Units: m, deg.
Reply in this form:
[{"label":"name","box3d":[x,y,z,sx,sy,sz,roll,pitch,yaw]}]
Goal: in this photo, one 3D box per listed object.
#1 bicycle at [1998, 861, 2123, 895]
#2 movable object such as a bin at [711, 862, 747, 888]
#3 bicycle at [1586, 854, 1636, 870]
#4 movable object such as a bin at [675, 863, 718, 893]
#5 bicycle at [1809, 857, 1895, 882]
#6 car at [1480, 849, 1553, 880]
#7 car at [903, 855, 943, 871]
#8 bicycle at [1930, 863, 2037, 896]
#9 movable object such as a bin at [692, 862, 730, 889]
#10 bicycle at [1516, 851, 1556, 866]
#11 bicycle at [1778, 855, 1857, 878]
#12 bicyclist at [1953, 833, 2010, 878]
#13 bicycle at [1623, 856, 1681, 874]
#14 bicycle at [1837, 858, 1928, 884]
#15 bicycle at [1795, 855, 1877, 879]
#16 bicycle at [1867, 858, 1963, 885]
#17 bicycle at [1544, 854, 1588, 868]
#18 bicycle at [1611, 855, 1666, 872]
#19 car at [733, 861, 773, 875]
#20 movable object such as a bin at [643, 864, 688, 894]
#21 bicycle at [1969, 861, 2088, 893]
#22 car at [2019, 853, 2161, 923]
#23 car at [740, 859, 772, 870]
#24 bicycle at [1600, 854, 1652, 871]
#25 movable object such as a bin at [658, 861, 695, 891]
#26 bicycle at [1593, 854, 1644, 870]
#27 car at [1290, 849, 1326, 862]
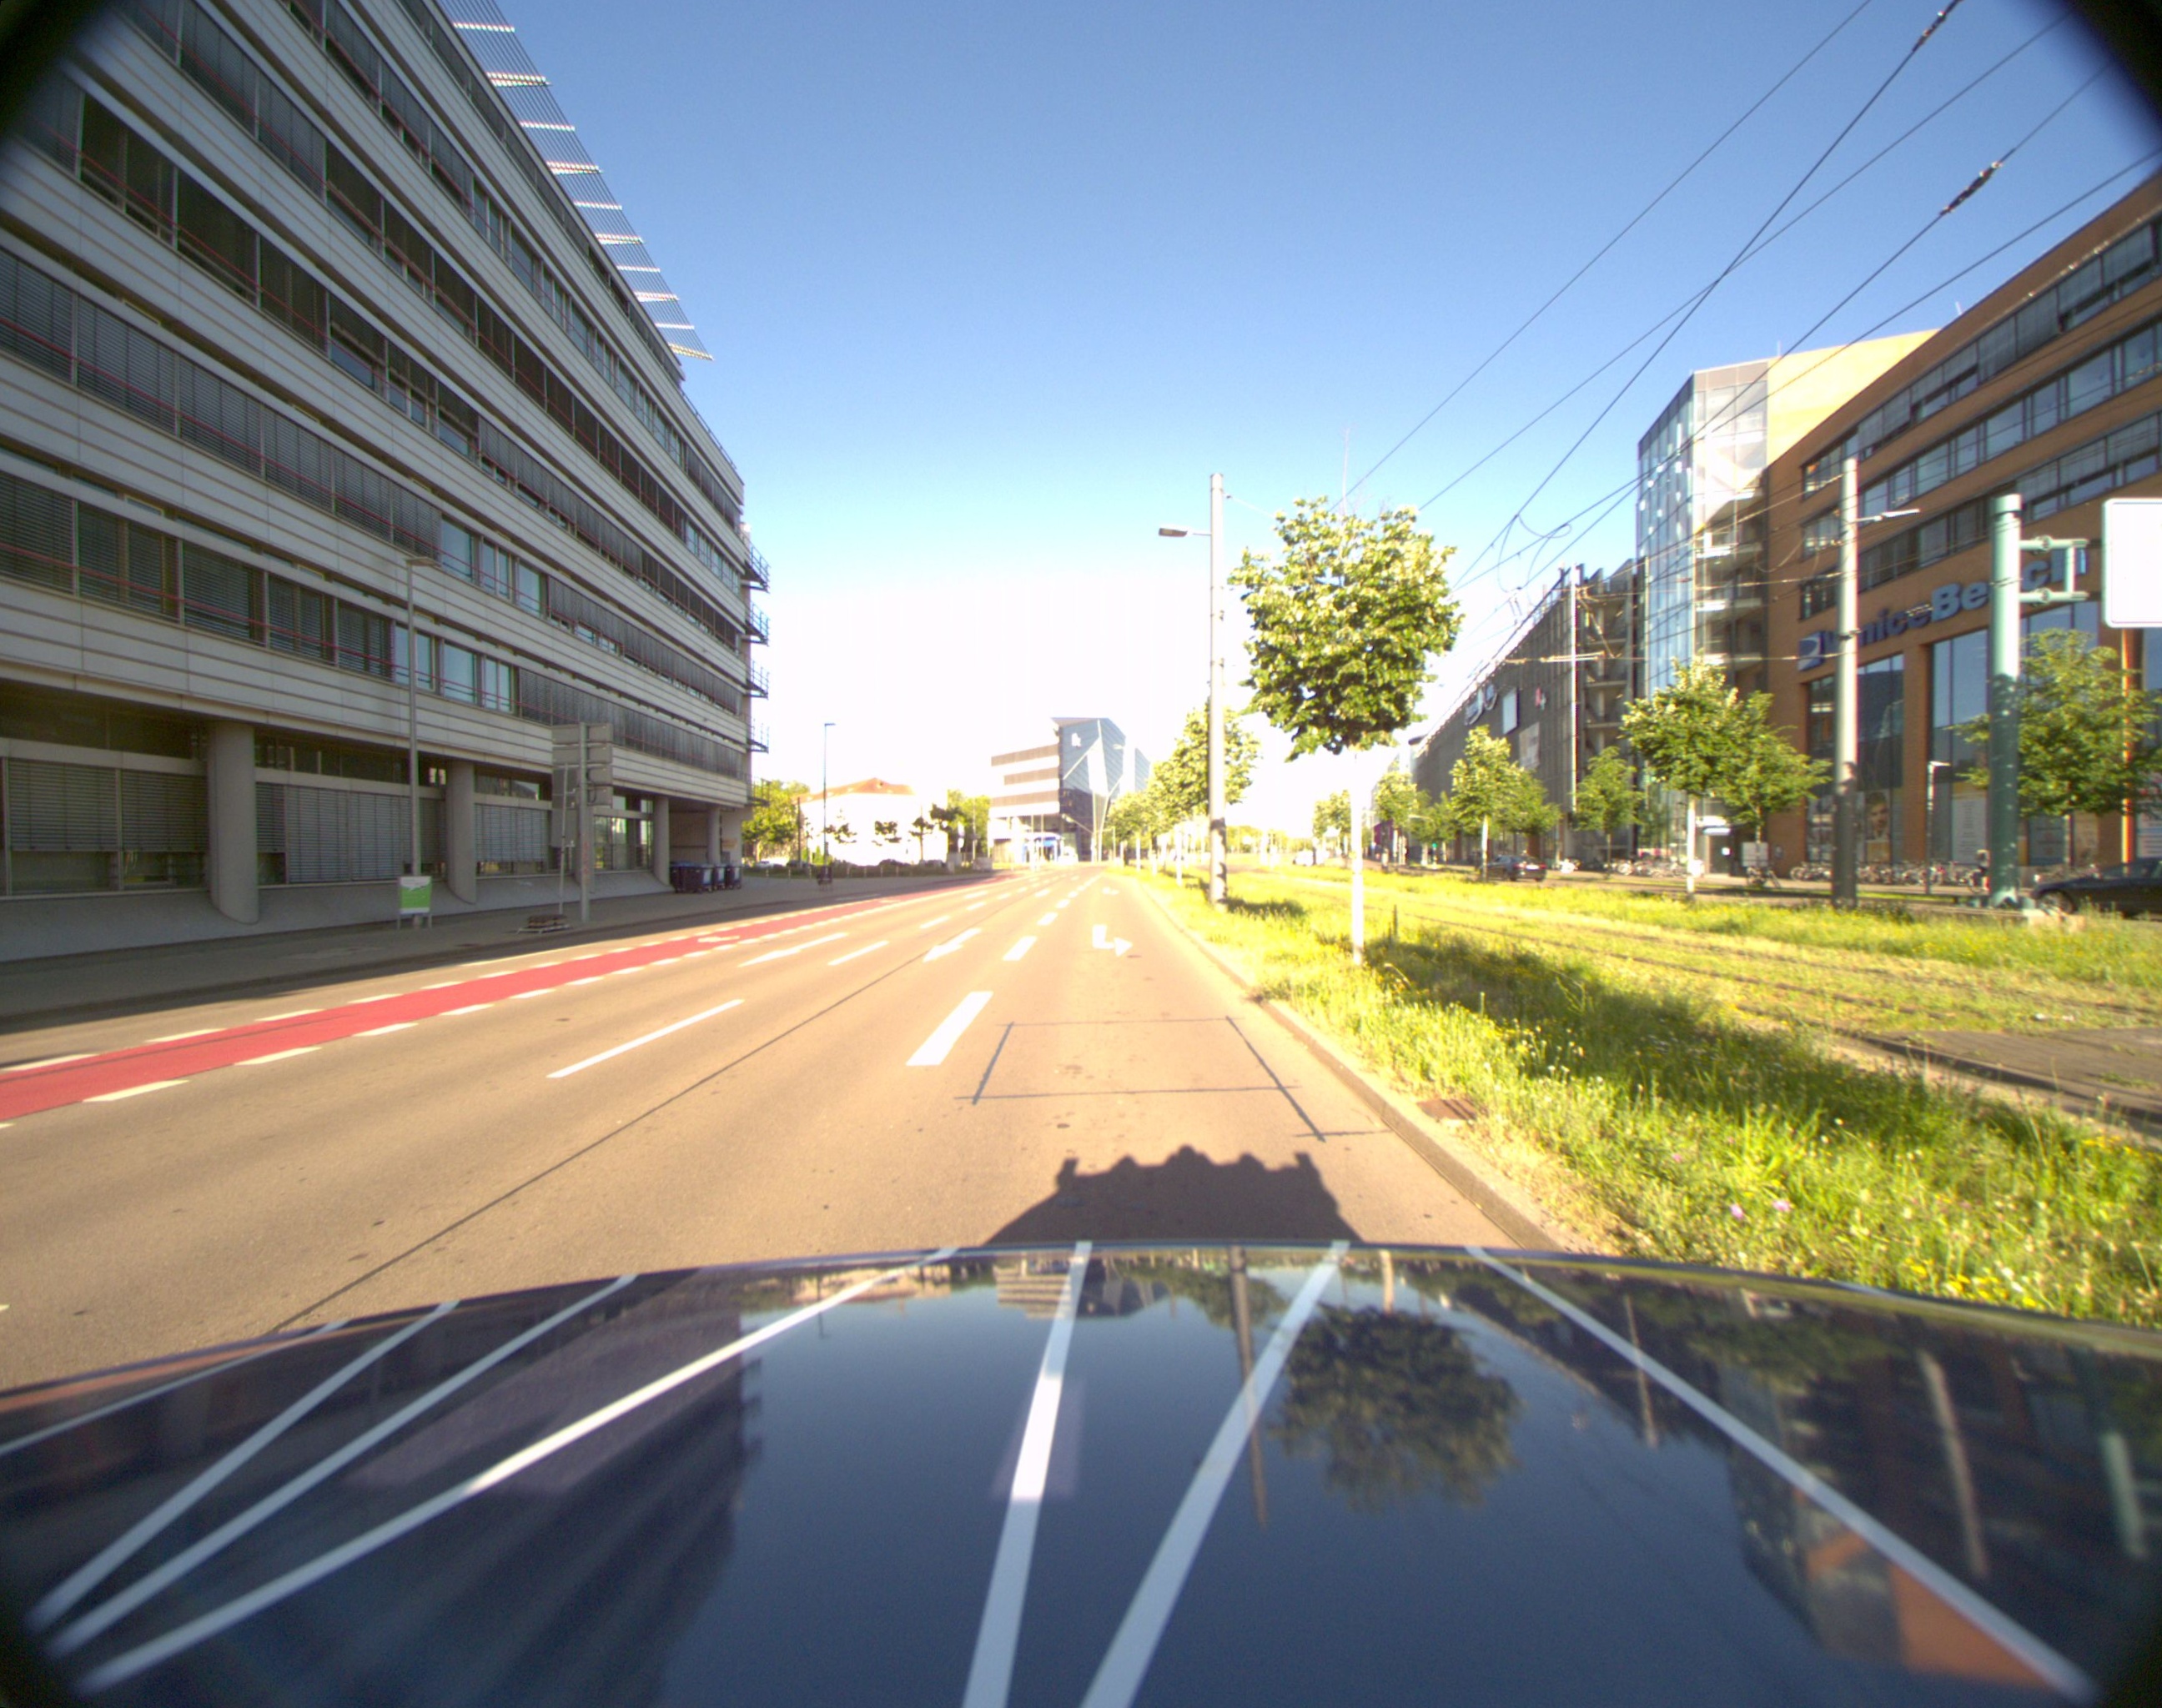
[{"label":"bicycle","box3d":[33.295,0.814,25.868,2.687,1.097,0.897,0,0,11]},{"label":"movable object such as a bin","box3d":[-17.766,1.047,38.394,1.173,1.293,1.329,-1,1,1]},{"label":"bicycle","box3d":[36.326,0.535,52.151,2.687,1.097,0.897,0,0,11]},{"label":"movable object such as a bin","box3d":[-17.148,1.051,33.914,1.328,1.294,1.174,-1,1,1]},{"label":"bicycle","box3d":[34.914,0.686,34.447,2.687,1.097,0.897,0,0,11]},{"label":"car","box3d":[23.051,0.522,40.387,1.625,1.519,4.357,0,0,4]},{"label":"car","box3d":[-15.406,0.864,74.001,3.790,1.523,1.744,0,1,37]},{"label":"bicycle","box3d":[31.526,0.857,26.629,0.894,1.097,2.694,0,0,9]},{"label":"movable object such as a bin","box3d":[-18.014,1.042,37.052,1.173,1.293,1.329,-1,1,1]},{"label":"bicycle","box3d":[37.929,0.396,63.358,2.687,1.182,0.897,0,0,11]},{"label":"bicycle","box3d":[35.668,0.595,36.832,2.687,1.097,0.897,0,0,11]},{"label":"bicyclist","box3d":[31.522,0.072,26.623,0.894,1.539,0.940,0,0,9]},{"label":"bicycle","box3d":[35.064,0.665,46.696,2.687,1.097,0.897,0,0,11]},{"label":"bicycle","box3d":[34.582,0.717,32.809,2.687,1.097,0.897,0,0,11]},{"label":"bicycle","box3d":[35.428,0.602,35.671,2.687,1.097,0.897,0,0,11]},{"label":"bicycle","box3d":[34.510,0.735,31.470,2.687,1.097,0.897,0,0,11]},{"label":"bicycle","box3d":[36.859,0.542,57.730,2.687,1.097,0.897,0,0,11]},{"label":"bicycle","box3d":[35.602,0.598,48.568,2.687,1.097,0.897,0,0,11]},{"label":"car","box3d":[-36.493,1.549,84.639,3.794,1.523,1.742,0,1,13]},{"label":"movable object such as a bin","box3d":[-18.512,1.101,33.904,1.328,1.294,1.174,-1,1,1]},{"label":"bicycle","box3d":[33.495,0.820,26.896,2.687,1.097,0.897,0,0,11]},{"label":"car","box3d":[24.274,0.741,16.836,1.626,1.519,4.355,0,0,1]},{"label":"car","box3d":[-44.794,1.443,104.756,3.804,1.523,1.737,-1,1,-17]},{"label":"bicycle","box3d":[36.048,0.562,50.265,2.687,1.097,0.897,0,0,11]},{"label":"movable object such as a bin","box3d":[-19.083,1.013,35.833,1.109,1.366,1.108,-1,1,1]},{"label":"bicycle","box3d":[36.207,0.546,51.240,2.687,1.097,0.826,0,0,11]},{"label":"car","box3d":[25.703,0.145,86.114,1.680,1.519,4.347,0,0,-20]}]
